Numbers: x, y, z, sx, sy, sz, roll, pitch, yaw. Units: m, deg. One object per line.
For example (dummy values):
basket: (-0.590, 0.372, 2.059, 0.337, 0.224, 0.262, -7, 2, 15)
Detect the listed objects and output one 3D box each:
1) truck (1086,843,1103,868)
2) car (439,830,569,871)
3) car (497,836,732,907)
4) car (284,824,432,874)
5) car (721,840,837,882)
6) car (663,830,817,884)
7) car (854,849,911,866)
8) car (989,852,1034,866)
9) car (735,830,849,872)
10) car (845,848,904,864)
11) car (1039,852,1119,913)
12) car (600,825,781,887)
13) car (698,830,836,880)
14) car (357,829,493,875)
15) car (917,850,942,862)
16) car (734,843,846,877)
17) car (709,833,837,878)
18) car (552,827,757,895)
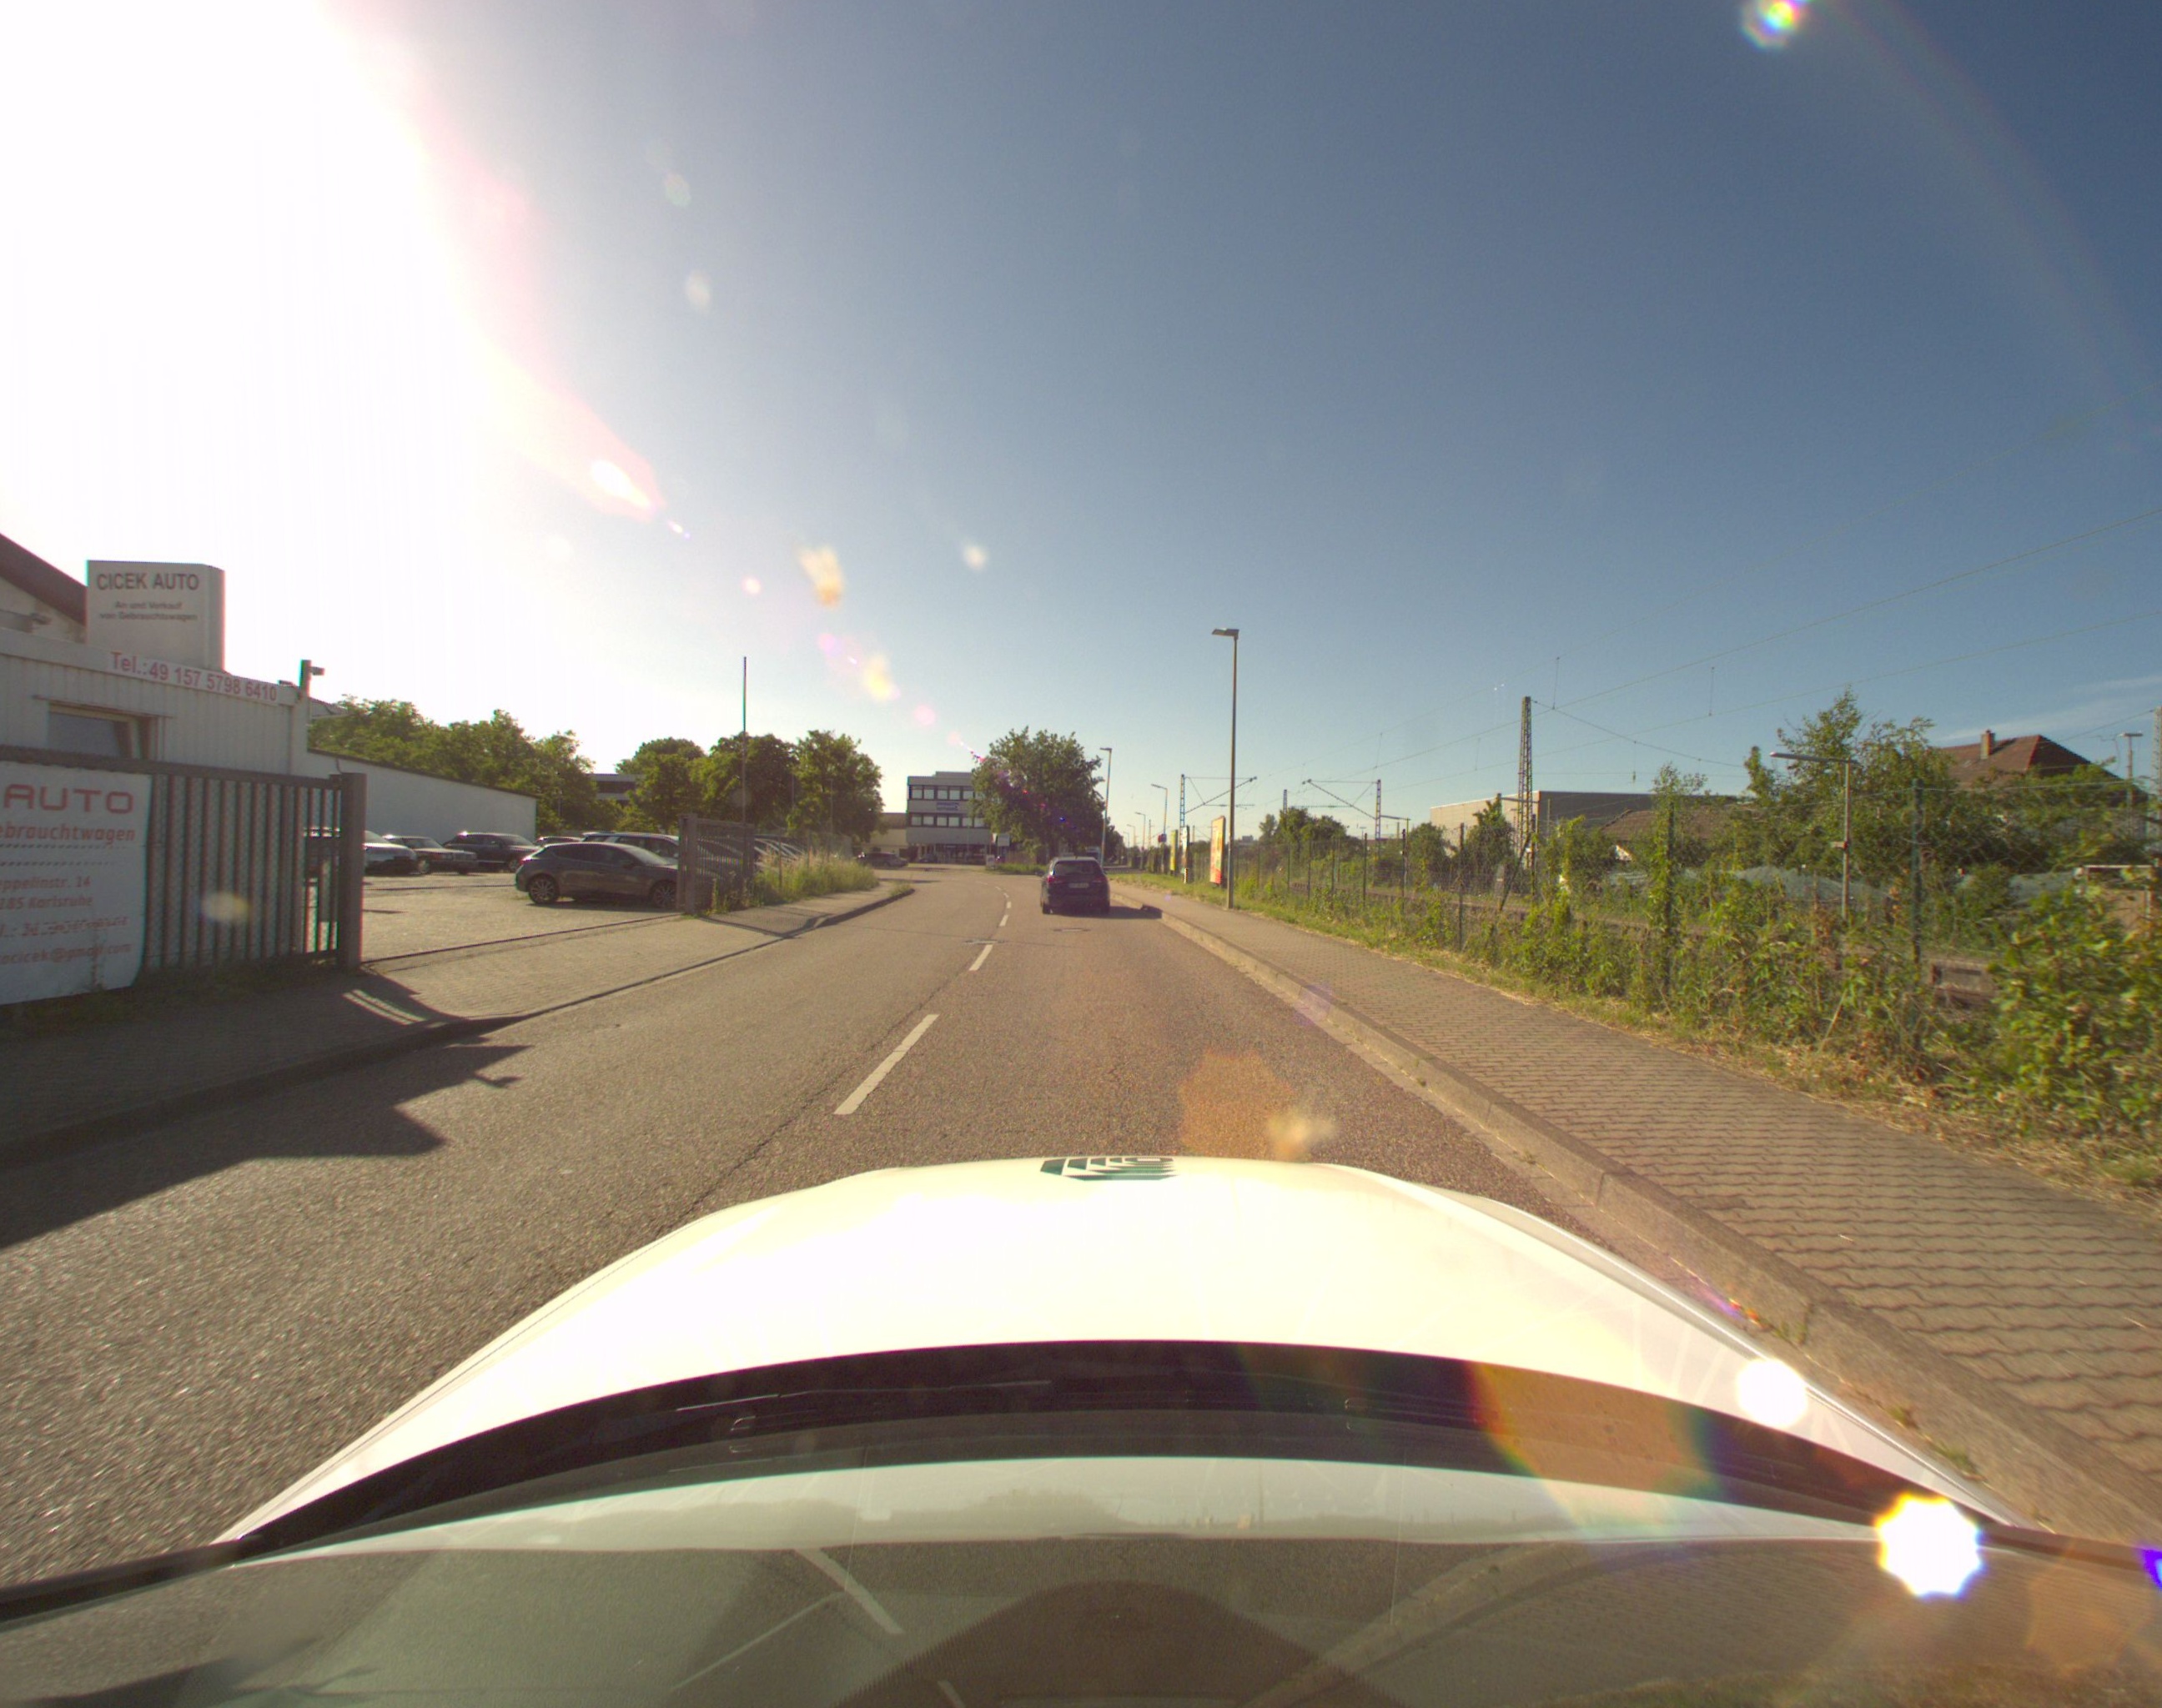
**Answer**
truck: (2.293, 0.288, 139.289, 2.604, 3.885, 13.530, 2, 0, 0)
car: (-25.369, -0.146, 35.904, 4.372, 1.648, 1.841, 1, 0, 2)
car: (-10.824, 0.397, 19.184, 4.383, 1.507, 1.837, 1, 0, -6)
car: (-26.103, -0.186, 29.439, 4.357, 1.648, 1.848, 1, 0, 15)
car: (-12.545, 0.302, 34.129, 4.401, 1.648, 1.829, 1, 0, -19)
car: (-11.143, 0.111, 26.946, 4.394, 1.648, 1.832, 1, 0, -13)
car: (-18.958, 0.342, 78.019, 4.893, 1.484, 2.000, 1, 0, 1)
car: (-8.098, 0.626, 95.189, 4.885, 1.484, 2.004, 1, 1, 6)
car: (-13.931, -0.132, 39.401, 4.870, 1.892, 1.821, 1, 0, -34)
car: (-19.051, 0.181, 75.418, 4.893, 1.426, 2.000, 1, 0, 1)
car: (-0.169, 0.693, 22.301, 1.938, 1.488, 4.560, 0, 0, -3)
car: (-11.350, 0.078, 23.982, 4.390, 1.648, 1.834, 1, 0, -11)
car: (-11.340, 0.062, 29.484, 4.417, 1.648, 1.823, 1, 0, -30)
car: (-25.454, -0.077, 31.640, 4.357, 1.648, 1.848, 1, 0, 15)
car: (-19.862, 0.240, 106.966, 1.984, 1.484, 4.934, 1, 1, 5)
car: (-13.194, 0.287, 37.018, 4.422, 1.436, 1.821, 1, 0, -35)
car: (-11.929, 0.081, 31.623, 4.417, 1.648, 1.823, 1, 0, -30)
car: (-11.200, 0.197, 21.688, 4.387, 1.648, 1.835, 1, 0, -9)
